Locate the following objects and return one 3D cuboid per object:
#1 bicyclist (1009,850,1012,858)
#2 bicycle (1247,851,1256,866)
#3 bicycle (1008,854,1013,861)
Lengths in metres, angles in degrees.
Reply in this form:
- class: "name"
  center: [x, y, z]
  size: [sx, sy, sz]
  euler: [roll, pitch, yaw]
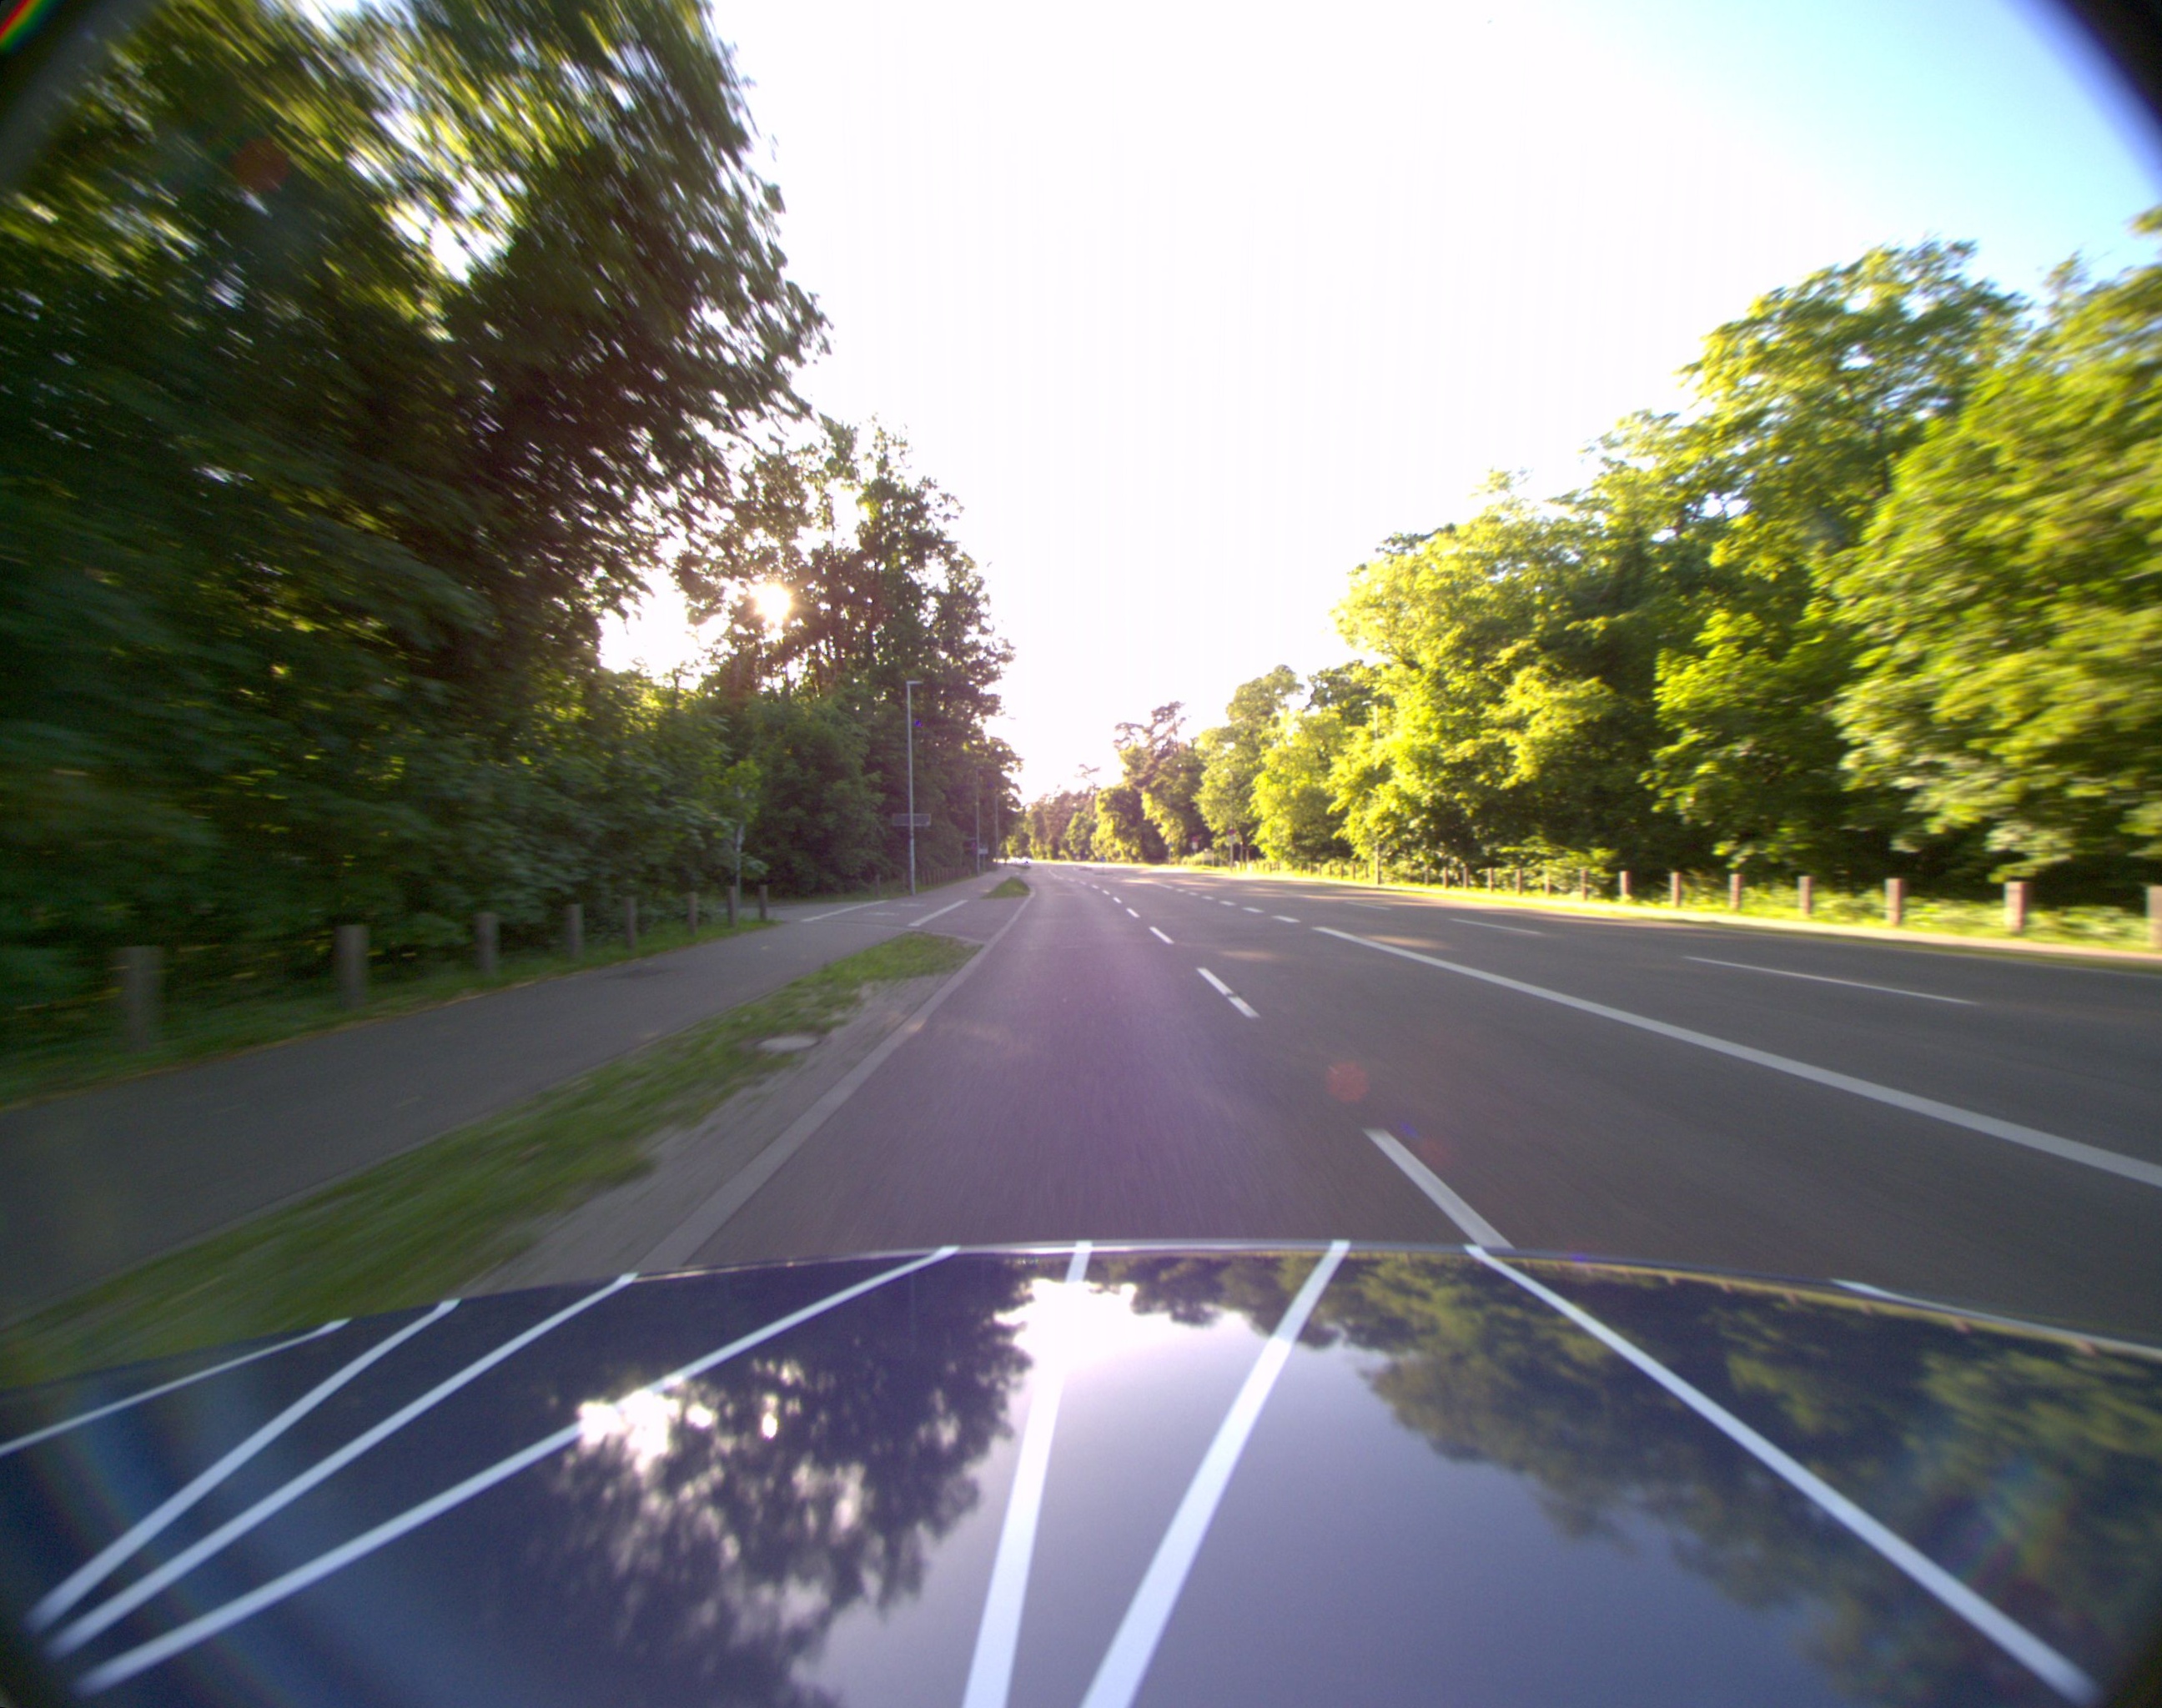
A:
- class: "bicyclist"
  center: [-11.673, 0.004, 125.554]
  size: [0.514, 1.260, 0.497]
  euler: [-2, 1, -9]
- class: "bicycle"
  center: [13.473, 0.327, 60.229]
  size: [0.402, 1.125, 2.220]
  euler: [-3, 1, 6]
- class: "bicycle"
  center: [-11.663, 0.582, 125.681]
  size: [0.609, 1.051, 2.872]
  euler: [-2, 0, -9]
